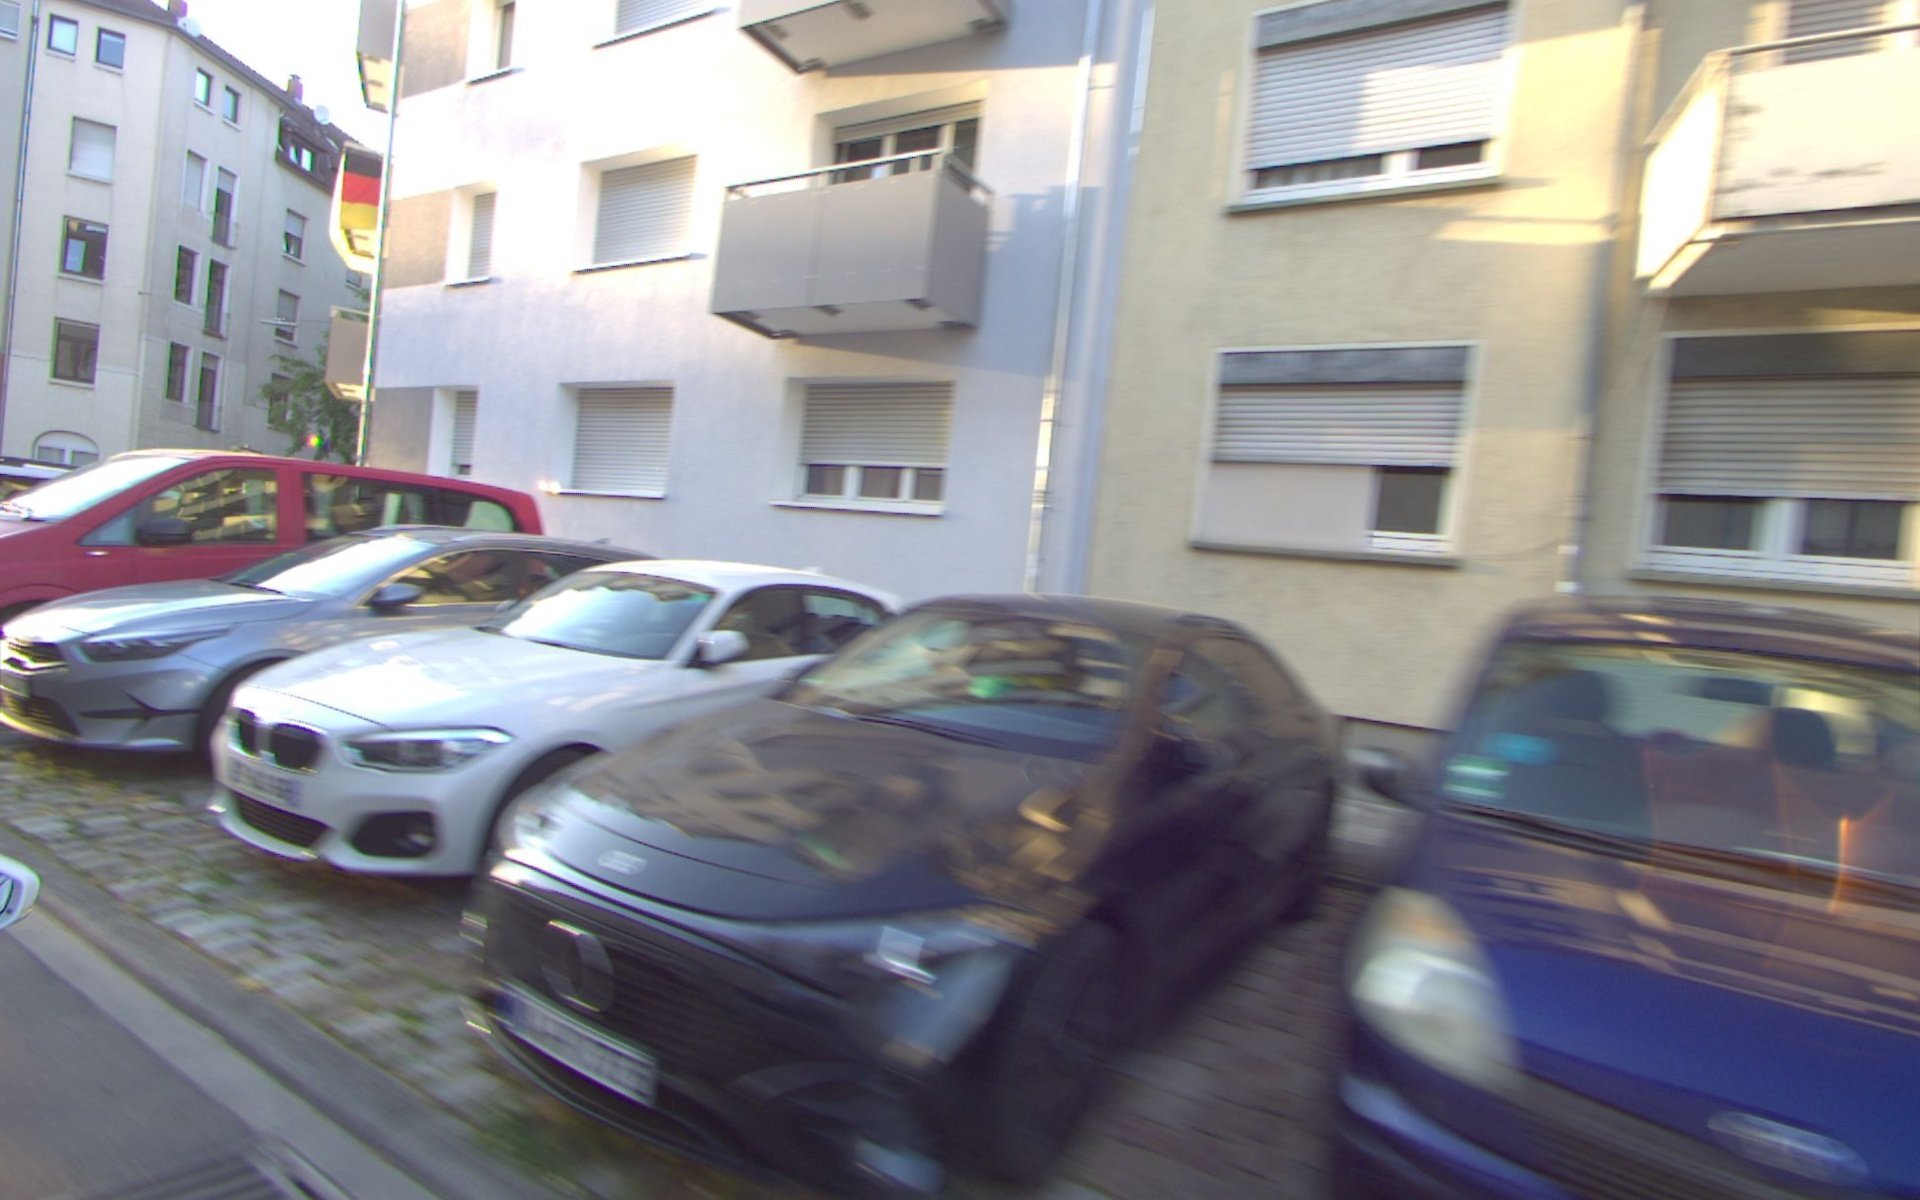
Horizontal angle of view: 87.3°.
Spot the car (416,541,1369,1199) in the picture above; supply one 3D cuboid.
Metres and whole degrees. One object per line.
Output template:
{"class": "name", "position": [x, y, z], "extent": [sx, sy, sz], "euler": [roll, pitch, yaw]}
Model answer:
{"class": "car", "position": [0.367, 0.703, 4.148], "extent": [1.628, 1.469, 4.309], "euler": [6, 2, 32]}

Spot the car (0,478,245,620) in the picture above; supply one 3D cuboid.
{"class": "car", "position": [-10.381, -0.592, 11.004], "extent": [1.607, 1.447, 3.812], "euler": [6, 2, 31]}

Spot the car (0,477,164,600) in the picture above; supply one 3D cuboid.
{"class": "car", "position": [-12.512, -0.846, 12.460], "extent": [1.607, 1.447, 3.812], "euler": [6, 2, 31]}

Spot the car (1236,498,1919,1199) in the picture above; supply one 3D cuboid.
{"class": "car", "position": [2.310, 0.772, 3.262], "extent": [1.628, 1.718, 3.791], "euler": [6, 2, 32]}

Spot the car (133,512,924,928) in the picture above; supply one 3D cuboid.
{"class": "car", "position": [-1.959, 0.448, 5.706], "extent": [1.609, 1.435, 3.877], "euler": [6, 2, 30]}

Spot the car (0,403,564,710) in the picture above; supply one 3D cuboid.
{"class": "car", "position": [-6.011, -0.309, 8.363], "extent": [2.025, 1.935, 4.723], "euler": [6, 2, 31]}

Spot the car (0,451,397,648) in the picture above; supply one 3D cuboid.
{"class": "car", "position": [-8.272, -0.472, 9.973], "extent": [1.788, 1.659, 4.325], "euler": [6, 2, 31]}

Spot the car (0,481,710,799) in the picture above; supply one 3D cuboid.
{"class": "car", "position": [-3.872, 0.189, 6.983], "extent": [1.609, 1.490, 4.146], "euler": [6, 2, 31]}
